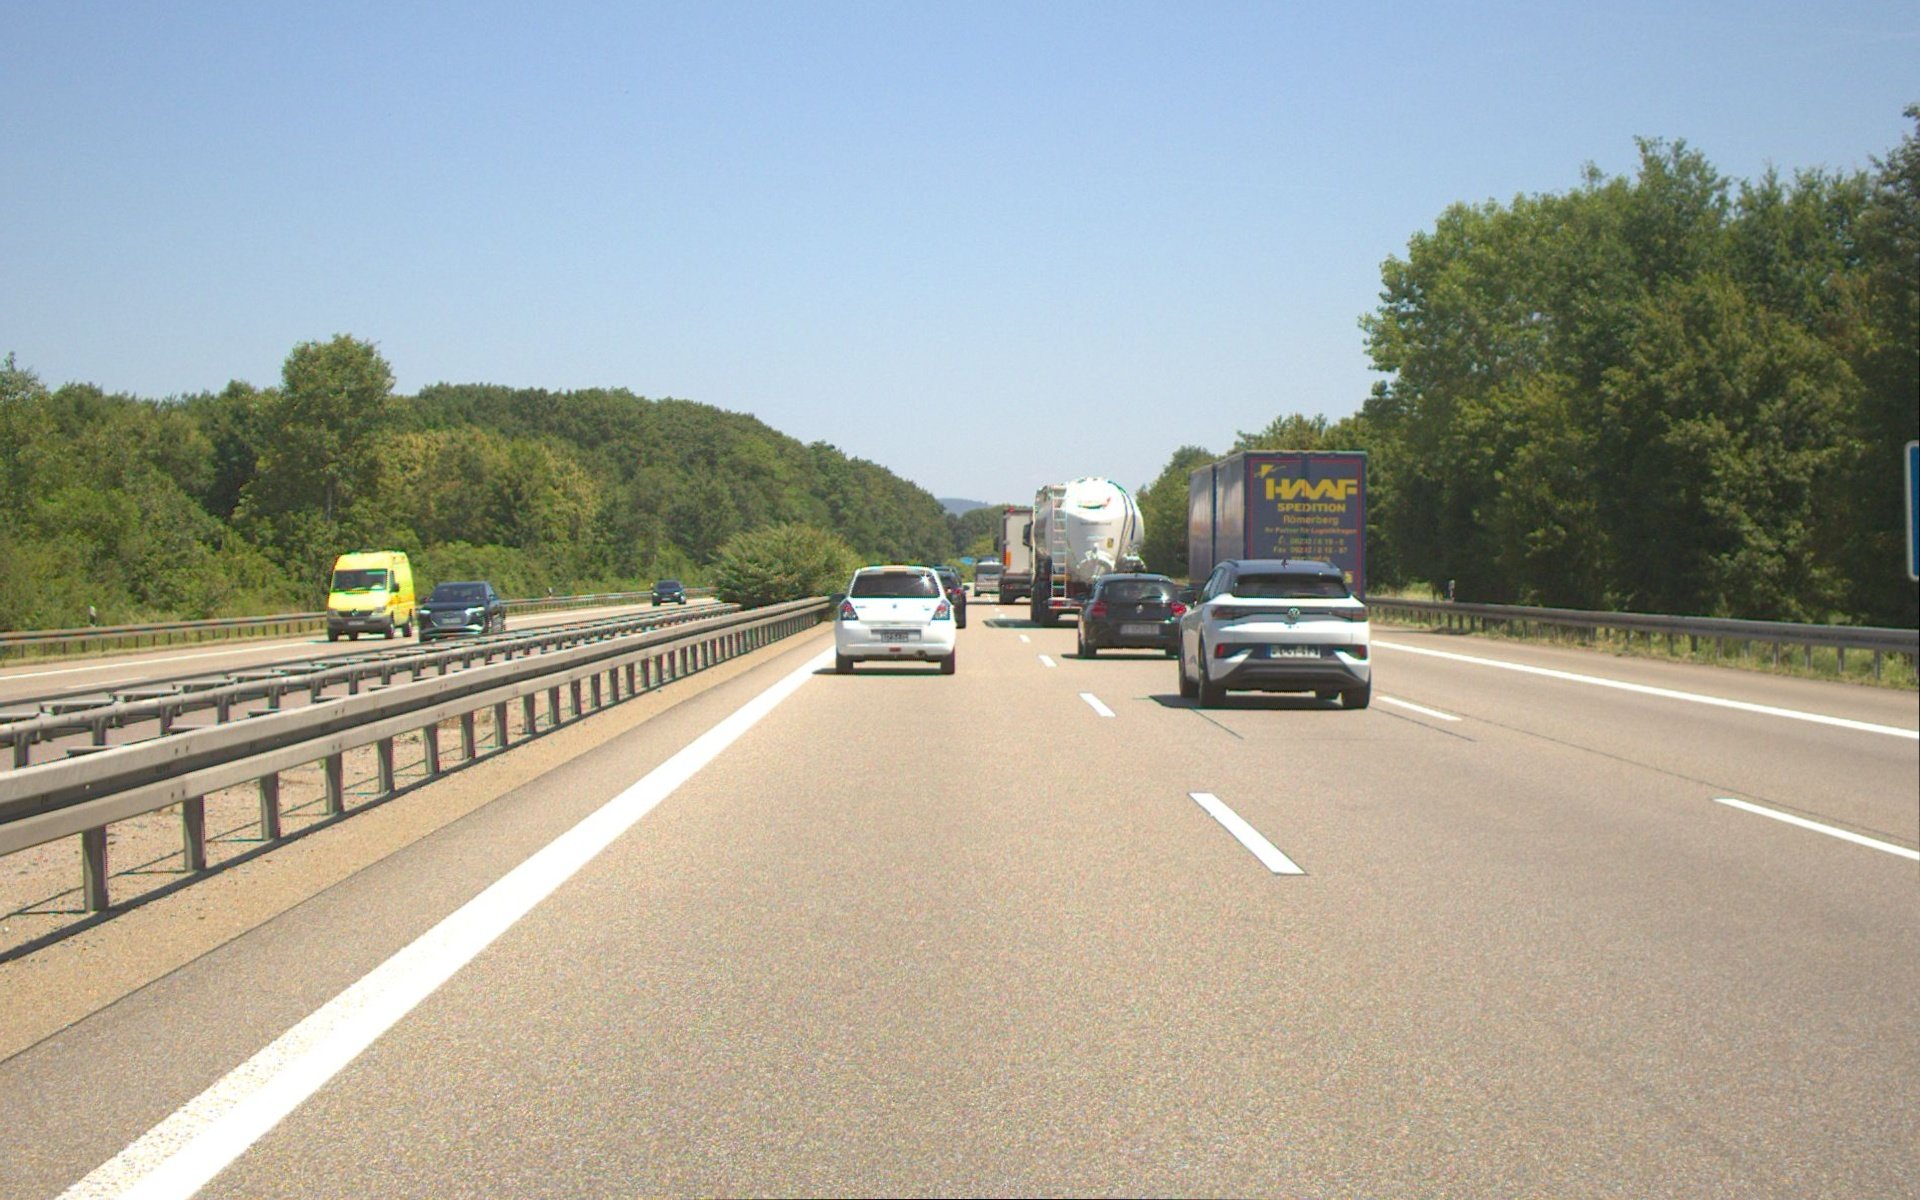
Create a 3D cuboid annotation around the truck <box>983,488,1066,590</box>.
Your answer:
[{"bbox_3d":[2.746,-2.608,149.447,3.394,4.199,12.083,1,1,0],"label":"truck"}]

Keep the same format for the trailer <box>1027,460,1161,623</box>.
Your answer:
[{"bbox_3d":[3.486,-1.558,92.639,2.911,4.055,12.419,1,1,-1],"label":"trailer"}]

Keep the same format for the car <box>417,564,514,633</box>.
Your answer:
[{"bbox_3d":[-12.998,-0.057,90.636,1.868,1.684,4.627,-2,1,-1],"label":"car"}]

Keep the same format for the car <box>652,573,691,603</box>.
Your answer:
[{"bbox_3d":[-17.092,-0.702,203.754,1.924,1.711,4.288,-1,1,0],"label":"car"}]

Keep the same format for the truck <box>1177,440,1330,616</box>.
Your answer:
[{"bbox_3d":[7.230,-1.760,85.707,3.109,4.124,8.056,1,1,0],"label":"truck"}]

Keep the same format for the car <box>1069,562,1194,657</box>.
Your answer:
[{"bbox_3d":[2.869,0.139,58.235,1.850,1.518,3.957,1,1,0],"label":"car"}]

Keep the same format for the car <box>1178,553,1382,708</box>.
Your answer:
[{"bbox_3d":[3.501,0.289,38.314,1.802,1.597,4.381,1,1,0],"label":"car"}]

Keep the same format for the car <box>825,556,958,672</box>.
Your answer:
[{"bbox_3d":[-0.974,0.169,48.989,1.799,1.546,3.610,1,1,-1],"label":"car"}]

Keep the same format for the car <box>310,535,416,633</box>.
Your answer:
[{"bbox_3d":[-17.978,-0.508,103.792,2.165,2.770,5.800,-2,1,-1],"label":"car"}]

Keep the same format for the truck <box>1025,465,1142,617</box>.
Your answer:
[{"bbox_3d":[3.424,-1.651,97.025,2.912,4.065,7.195,1,1,0],"label":"truck"}]

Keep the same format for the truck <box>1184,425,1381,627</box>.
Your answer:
[{"bbox_3d":[7.176,-1.638,78.835,3.109,4.124,15.511,1,1,0],"label":"truck"}]

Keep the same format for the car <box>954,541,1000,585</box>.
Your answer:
[{"bbox_3d":[0.961,-2.061,191.460,2.475,2.346,5.181,1,1,0],"label":"car"}]
